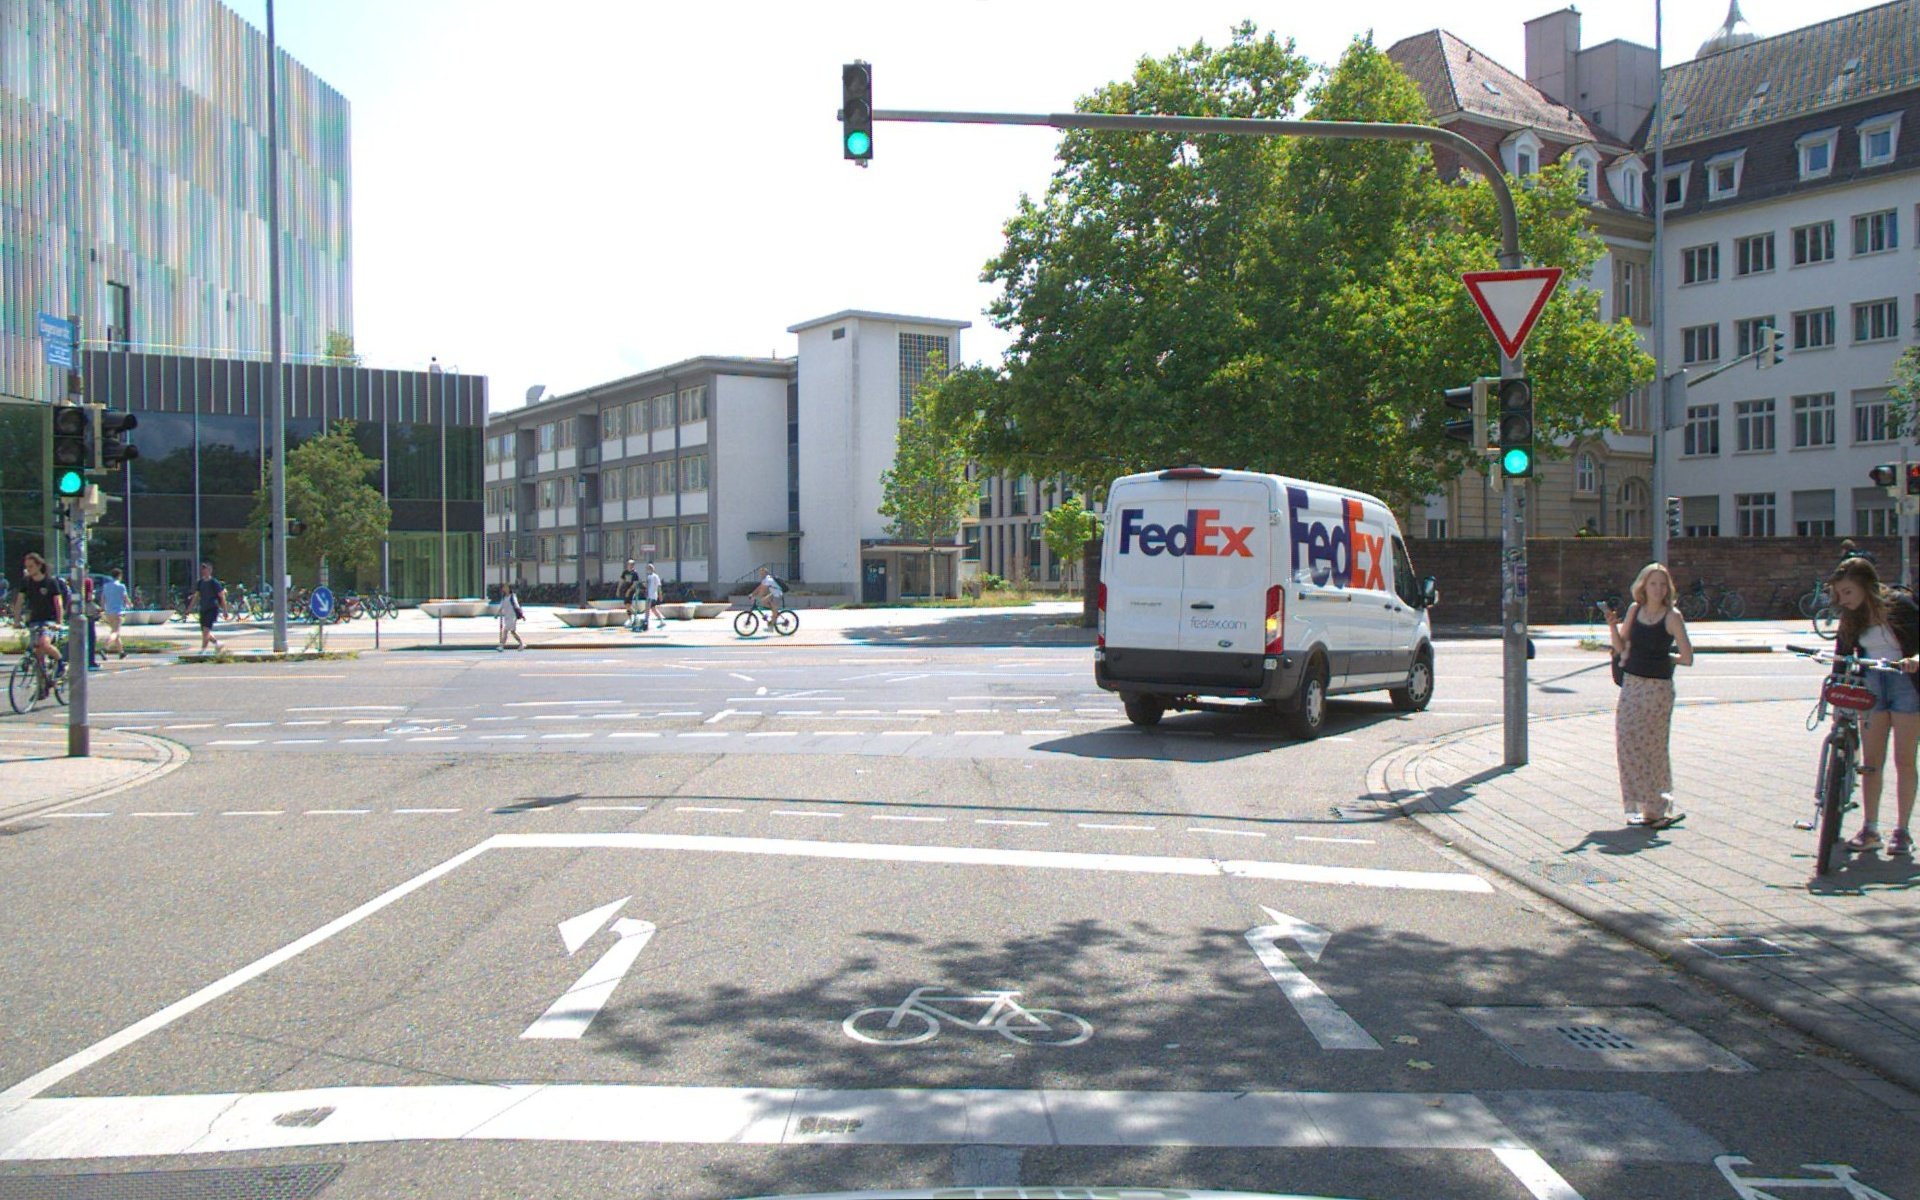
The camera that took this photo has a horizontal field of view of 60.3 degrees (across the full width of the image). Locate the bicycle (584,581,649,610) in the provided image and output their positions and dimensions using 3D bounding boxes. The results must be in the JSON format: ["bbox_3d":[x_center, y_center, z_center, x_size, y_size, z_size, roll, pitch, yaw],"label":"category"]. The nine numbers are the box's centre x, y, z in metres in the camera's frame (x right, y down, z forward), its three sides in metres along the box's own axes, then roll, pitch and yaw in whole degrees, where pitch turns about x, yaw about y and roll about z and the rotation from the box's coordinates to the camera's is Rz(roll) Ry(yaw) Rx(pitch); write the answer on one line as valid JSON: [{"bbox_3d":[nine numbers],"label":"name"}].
[{"bbox_3d":[-16.927,-0.235,81.540,2.935,1.387,1.102,0,0,-38],"label":"bicycle"}]

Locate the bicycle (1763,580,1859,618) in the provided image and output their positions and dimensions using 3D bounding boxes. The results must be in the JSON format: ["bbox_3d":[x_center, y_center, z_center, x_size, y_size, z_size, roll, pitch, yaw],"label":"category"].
[{"bbox_3d":[23.860,-0.031,46.386,2.333,1.011,0.753,-1,1,-4],"label":"bicycle"}]

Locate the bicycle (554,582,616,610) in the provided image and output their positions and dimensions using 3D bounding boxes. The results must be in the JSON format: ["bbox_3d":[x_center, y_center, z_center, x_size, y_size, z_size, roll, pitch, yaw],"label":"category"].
[{"bbox_3d":[-19.180,-0.221,84.661,2.935,1.387,1.102,0,0,-38],"label":"bicycle"}]

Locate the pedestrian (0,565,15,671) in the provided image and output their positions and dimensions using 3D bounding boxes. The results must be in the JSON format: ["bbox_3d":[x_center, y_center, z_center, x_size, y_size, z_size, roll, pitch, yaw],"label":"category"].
[{"bbox_3d":[-17.690,0.331,29.623,0.835,1.909,1.007,-1,1,19],"label":"pedestrian"}]

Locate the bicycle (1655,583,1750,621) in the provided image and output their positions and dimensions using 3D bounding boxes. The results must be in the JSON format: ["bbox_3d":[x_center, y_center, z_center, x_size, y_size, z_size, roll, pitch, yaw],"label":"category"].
[{"bbox_3d":[20.681,0.050,46.060,2.333,1.011,0.753,-1,1,-4],"label":"bicycle"}]

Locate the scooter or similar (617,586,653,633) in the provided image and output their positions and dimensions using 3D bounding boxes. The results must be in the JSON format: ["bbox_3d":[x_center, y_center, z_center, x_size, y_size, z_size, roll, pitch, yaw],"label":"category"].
[{"bbox_3d":[-8.810,0.244,44.747,0.705,1.198,2.713,-1,1,-16],"label":"scooter or similar"}]

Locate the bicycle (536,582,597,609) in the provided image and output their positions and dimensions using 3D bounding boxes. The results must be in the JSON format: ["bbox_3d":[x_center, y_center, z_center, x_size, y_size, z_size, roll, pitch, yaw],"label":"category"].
[{"bbox_3d":[-20.587,-0.235,86.550,2.935,1.387,1.102,0,0,-38],"label":"bicycle"}]

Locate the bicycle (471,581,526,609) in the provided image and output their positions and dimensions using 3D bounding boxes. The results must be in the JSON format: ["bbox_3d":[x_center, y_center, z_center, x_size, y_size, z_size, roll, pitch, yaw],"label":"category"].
[{"bbox_3d":[-27.020,-0.312,96.950,2.935,1.602,1.102,0,0,-38],"label":"bicycle"}]

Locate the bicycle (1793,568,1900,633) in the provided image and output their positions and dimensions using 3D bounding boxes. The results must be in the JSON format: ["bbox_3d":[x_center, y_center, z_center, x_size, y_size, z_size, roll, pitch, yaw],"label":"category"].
[{"bbox_3d":[17.172,0.001,32.100,0.668,1.205,1.980,-1,1,-15],"label":"bicycle"}]

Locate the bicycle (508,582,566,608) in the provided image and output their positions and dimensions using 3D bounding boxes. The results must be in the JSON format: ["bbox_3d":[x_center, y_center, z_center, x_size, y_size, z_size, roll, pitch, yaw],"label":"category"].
[{"bbox_3d":[-23.285,-0.282,91.040,2.935,1.387,1.102,0,0,-38],"label":"bicycle"}]

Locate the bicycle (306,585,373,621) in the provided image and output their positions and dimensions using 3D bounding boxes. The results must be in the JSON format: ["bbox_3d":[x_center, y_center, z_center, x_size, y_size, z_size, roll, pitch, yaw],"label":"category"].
[{"bbox_3d":[-22.402,0.101,59.687,2.902,1.259,1.192,0,0,45],"label":"bicycle"}]

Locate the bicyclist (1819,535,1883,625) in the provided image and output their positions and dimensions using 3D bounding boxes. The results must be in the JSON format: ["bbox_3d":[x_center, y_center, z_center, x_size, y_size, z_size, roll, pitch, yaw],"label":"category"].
[{"bbox_3d":[17.206,-0.390,31.950,0.670,1.701,0.887,-1,1,-15],"label":"bicyclist"}]

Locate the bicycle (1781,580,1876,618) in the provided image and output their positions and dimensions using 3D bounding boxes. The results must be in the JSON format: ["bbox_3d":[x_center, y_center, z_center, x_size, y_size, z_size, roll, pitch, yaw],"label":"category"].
[{"bbox_3d":[24.374,-0.044,46.427,2.333,1.011,0.724,-1,1,-4],"label":"bicycle"}]

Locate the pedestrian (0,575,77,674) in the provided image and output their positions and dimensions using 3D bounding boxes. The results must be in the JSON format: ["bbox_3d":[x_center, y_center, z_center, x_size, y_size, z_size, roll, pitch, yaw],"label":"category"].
[{"bbox_3d":[-16.092,0.420,28.868,0.808,1.683,0.862,-1,1,14],"label":"pedestrian"}]

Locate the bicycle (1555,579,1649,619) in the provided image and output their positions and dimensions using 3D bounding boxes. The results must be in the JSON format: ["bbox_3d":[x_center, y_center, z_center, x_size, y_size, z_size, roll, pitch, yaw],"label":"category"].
[{"bbox_3d":[17.785,-0.032,45.841,2.333,1.077,0.753,-1,1,-4],"label":"bicycle"}]

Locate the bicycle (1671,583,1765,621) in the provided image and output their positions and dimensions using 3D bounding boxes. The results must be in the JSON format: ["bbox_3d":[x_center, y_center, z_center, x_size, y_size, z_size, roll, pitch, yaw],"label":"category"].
[{"bbox_3d":[21.119,0.059,46.108,2.333,1.011,0.696,-1,1,-4],"label":"bicycle"}]

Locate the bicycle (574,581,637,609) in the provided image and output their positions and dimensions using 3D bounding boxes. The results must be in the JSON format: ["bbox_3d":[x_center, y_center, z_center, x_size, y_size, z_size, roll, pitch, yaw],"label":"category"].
[{"bbox_3d":[-17.705,-0.240,82.592,2.935,1.387,1.102,0,0,-38],"label":"bicycle"}]

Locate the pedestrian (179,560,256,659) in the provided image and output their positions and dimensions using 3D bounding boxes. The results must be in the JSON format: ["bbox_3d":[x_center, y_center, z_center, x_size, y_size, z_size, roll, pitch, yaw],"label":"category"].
[{"bbox_3d":[-14.469,0.176,32.248,0.813,1.903,1.084,-1,1,23],"label":"pedestrian"}]

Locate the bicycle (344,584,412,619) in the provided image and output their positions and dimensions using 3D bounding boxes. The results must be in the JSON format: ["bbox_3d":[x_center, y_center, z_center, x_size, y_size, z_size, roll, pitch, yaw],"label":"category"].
[{"bbox_3d":[-21.236,0.053,60.297,2.902,1.259,1.192,0,0,45],"label":"bicycle"}]

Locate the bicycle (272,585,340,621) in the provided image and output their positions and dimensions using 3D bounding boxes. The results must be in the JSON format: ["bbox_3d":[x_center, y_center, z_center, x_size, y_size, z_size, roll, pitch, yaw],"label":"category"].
[{"bbox_3d":[-23.332,0.082,58.959,2.902,1.259,1.192,0,0,45],"label":"bicycle"}]

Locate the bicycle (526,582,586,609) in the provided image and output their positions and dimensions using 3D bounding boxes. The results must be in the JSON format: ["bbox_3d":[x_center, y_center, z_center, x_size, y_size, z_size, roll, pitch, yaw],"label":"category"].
[{"bbox_3d":[-21.473,-0.246,88.028,2.935,1.387,1.102,0,0,-38],"label":"bicycle"}]

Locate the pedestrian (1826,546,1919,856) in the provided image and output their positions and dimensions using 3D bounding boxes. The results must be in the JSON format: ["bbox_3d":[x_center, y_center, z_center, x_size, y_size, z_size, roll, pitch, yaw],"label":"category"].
[{"bbox_3d":[5.110,0.519,8.905,0.710,1.603,0.732,-3,-1,28],"label":"pedestrian"}]

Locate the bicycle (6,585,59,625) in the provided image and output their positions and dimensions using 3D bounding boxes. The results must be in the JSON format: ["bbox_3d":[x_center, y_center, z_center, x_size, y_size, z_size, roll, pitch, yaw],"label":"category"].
[{"bbox_3d":[-30.053,0.136,53.568,1.187,1.259,2.914,0,0,-36],"label":"bicycle"}]

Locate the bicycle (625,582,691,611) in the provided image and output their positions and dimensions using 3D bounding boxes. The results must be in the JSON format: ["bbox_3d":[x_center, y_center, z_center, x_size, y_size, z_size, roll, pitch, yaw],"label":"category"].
[{"bbox_3d":[-14.251,-0.172,78.114,2.935,1.387,1.102,0,0,-38],"label":"bicycle"}]

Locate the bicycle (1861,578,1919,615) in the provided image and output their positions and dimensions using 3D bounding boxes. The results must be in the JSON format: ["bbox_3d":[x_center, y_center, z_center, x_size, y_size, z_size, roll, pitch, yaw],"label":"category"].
[{"bbox_3d":[26.750,-0.110,46.616,2.333,1.011,0.753,-1,1,-4],"label":"bicycle"}]

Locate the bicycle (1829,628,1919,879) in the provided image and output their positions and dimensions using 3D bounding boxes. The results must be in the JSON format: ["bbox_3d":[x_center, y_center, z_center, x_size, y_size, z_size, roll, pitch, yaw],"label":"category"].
[{"bbox_3d":[4.996,0.762,8.811,0.580,1.146,1.740,-3,0,27],"label":"bicycle"}]

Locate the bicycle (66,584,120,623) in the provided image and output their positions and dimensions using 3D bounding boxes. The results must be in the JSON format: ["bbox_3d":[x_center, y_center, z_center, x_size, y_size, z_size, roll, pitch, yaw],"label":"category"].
[{"bbox_3d":[-28.919,0.107,55.157,1.188,1.259,2.913,0,0,-36],"label":"bicycle"}]

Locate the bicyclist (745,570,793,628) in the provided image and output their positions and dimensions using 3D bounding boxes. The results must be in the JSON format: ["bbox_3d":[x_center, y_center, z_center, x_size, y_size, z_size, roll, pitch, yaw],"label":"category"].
[{"bbox_3d":[-5.026,-0.021,43.496,0.832,1.493,1.068,-1,1,22],"label":"bicyclist"}]

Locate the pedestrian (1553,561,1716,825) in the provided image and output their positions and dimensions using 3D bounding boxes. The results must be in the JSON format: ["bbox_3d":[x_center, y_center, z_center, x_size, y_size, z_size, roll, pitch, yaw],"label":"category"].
[{"bbox_3d":[4.290,0.569,10.573,0.715,1.603,0.776,-2,0,4],"label":"pedestrian"}]

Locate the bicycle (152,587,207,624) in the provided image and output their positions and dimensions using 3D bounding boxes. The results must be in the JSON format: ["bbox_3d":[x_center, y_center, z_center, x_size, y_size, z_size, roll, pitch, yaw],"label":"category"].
[{"bbox_3d":[-26.786,0.176,56.732,1.188,1.259,2.913,0,0,-36],"label":"bicycle"}]

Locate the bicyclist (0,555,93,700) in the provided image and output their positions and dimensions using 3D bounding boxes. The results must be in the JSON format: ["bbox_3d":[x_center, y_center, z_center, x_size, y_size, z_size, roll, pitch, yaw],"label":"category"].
[{"bbox_3d":[-12.011,0.345,21.559,0.772,1.849,1.000,-1,1,10],"label":"bicyclist"}]

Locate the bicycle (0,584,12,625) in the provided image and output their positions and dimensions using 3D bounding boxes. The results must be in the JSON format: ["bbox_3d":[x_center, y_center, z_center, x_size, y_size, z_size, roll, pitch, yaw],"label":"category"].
[{"bbox_3d":[-31.107,0.131,52.768,1.188,1.259,2.913,0,0,-36],"label":"bicycle"}]

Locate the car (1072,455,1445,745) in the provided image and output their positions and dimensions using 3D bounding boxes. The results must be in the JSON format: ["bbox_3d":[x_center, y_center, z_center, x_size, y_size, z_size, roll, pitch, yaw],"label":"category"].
[{"bbox_3d":[3.420,-0.078,17.822,2.057,2.611,5.589,2,2,31],"label":"car"}]

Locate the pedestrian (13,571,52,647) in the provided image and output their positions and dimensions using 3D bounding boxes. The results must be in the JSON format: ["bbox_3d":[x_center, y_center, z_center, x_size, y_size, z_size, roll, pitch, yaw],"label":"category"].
[{"bbox_3d":[-32.389,0.310,57.758,0.968,2.609,0.999,0,0,-43],"label":"pedestrian"}]

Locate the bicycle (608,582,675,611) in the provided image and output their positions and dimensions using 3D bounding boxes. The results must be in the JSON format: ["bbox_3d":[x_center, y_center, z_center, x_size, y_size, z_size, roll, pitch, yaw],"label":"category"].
[{"bbox_3d":[-15.282,-0.181,79.371,2.935,1.387,1.258,0,0,-38],"label":"bicycle"}]

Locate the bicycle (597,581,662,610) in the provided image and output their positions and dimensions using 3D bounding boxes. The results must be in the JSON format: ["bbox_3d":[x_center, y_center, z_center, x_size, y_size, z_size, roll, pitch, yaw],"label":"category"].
[{"bbox_3d":[-16.044,-0.221,80.382,2.935,1.387,1.102,0,0,-38],"label":"bicycle"}]

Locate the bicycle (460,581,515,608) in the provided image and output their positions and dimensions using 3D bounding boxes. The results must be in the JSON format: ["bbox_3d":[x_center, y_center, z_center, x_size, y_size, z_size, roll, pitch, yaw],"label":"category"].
[{"bbox_3d":[-28.025,-0.323,98.174,2.935,1.602,1.102,0,0,-38],"label":"bicycle"}]

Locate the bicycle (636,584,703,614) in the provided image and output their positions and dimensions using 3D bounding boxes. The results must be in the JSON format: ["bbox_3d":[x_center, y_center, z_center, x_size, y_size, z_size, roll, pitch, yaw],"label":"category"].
[{"bbox_3d":[-13.521,-0.056,77.018,2.935,1.387,1.102,0,0,-38],"label":"bicycle"}]

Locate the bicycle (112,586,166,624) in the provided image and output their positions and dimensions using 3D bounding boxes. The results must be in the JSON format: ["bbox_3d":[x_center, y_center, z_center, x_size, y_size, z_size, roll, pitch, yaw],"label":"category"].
[{"bbox_3d":[-27.783,0.161,55.949,1.188,1.259,2.913,0,0,-36],"label":"bicycle"}]

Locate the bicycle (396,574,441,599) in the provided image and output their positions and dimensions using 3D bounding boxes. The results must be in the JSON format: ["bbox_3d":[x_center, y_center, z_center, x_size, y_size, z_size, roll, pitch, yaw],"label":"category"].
[{"bbox_3d":[-35.590,-0.883,108.730,1.093,1.602,2.962,0,0,27],"label":"bicycle"}]

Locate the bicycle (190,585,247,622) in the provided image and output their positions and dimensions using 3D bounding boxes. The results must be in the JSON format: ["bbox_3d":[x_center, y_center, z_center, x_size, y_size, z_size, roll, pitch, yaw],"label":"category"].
[{"bbox_3d":[-25.754,0.117,57.428,1.188,1.259,2.912,0,0,-37],"label":"bicycle"}]

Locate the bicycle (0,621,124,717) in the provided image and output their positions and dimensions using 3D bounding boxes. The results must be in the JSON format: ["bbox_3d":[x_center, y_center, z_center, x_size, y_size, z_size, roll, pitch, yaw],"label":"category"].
[{"bbox_3d":[-11.997,0.877,21.698,0.754,1.142,2.028,-1,1,10],"label":"bicycle"}]

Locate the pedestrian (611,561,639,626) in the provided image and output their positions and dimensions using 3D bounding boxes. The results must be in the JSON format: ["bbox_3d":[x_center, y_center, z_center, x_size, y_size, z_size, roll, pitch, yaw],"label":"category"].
[{"bbox_3d":[-9.577,-0.195,47.287,0.658,1.846,0.811,-1,0,-19],"label":"pedestrian"}]

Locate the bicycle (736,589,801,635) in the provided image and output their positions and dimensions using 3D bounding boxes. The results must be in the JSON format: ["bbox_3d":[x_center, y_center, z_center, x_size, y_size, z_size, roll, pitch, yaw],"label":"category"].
[{"bbox_3d":[-5.018,0.299,43.524,0.830,1.165,1.995,0,1,22],"label":"bicycle"}]

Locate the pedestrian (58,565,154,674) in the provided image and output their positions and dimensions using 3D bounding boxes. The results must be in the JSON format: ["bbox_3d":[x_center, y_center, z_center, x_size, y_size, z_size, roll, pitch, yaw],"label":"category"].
[{"bbox_3d":[-14.807,0.318,28.704,0.789,1.839,1.268,-1,1,16],"label":"pedestrian"}]

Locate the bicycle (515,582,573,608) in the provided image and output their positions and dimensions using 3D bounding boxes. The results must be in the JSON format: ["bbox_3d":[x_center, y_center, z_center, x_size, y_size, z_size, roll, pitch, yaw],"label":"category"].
[{"bbox_3d":[-22.593,-0.275,89.865,2.935,1.387,1.102,0,0,-38],"label":"bicycle"}]

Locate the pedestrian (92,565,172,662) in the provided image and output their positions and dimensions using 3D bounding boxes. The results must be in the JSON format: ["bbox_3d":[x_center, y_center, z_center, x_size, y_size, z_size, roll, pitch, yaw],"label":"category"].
[{"bbox_3d":[-16.183,0.255,32.351,0.844,1.850,1.096,-1,1,23],"label":"pedestrian"}]

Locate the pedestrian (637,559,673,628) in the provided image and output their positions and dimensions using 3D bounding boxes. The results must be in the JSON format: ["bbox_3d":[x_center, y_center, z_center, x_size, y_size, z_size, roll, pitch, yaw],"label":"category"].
[{"bbox_3d":[-8.668,-0.183,46.986,0.852,1.922,0.908,-1,0,-19],"label":"pedestrian"}]

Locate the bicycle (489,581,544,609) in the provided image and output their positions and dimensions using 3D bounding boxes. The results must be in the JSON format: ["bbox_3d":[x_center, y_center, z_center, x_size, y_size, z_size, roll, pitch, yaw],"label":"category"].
[{"bbox_3d":[-25.508,-0.298,95.162,2.935,1.602,1.102,0,0,-38],"label":"bicycle"}]

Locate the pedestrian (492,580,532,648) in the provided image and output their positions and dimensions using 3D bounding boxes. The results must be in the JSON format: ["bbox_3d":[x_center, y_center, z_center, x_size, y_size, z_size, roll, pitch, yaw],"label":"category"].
[{"bbox_3d":[-10.338,0.312,38.148,0.812,1.550,0.810,-1,0,-20],"label":"pedestrian"}]

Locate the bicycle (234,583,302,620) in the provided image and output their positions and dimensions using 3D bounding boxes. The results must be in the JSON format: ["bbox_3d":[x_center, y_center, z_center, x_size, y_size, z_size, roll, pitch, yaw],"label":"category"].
[{"bbox_3d":[-24.282,0.049,58.038,2.902,1.259,1.192,0,0,45],"label":"bicycle"}]

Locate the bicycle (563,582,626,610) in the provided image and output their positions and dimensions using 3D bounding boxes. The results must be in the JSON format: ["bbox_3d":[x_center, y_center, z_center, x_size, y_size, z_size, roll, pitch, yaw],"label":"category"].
[{"bbox_3d":[-18.462,-0.219,83.642,2.935,1.387,1.102,0,0,-38],"label":"bicycle"}]
